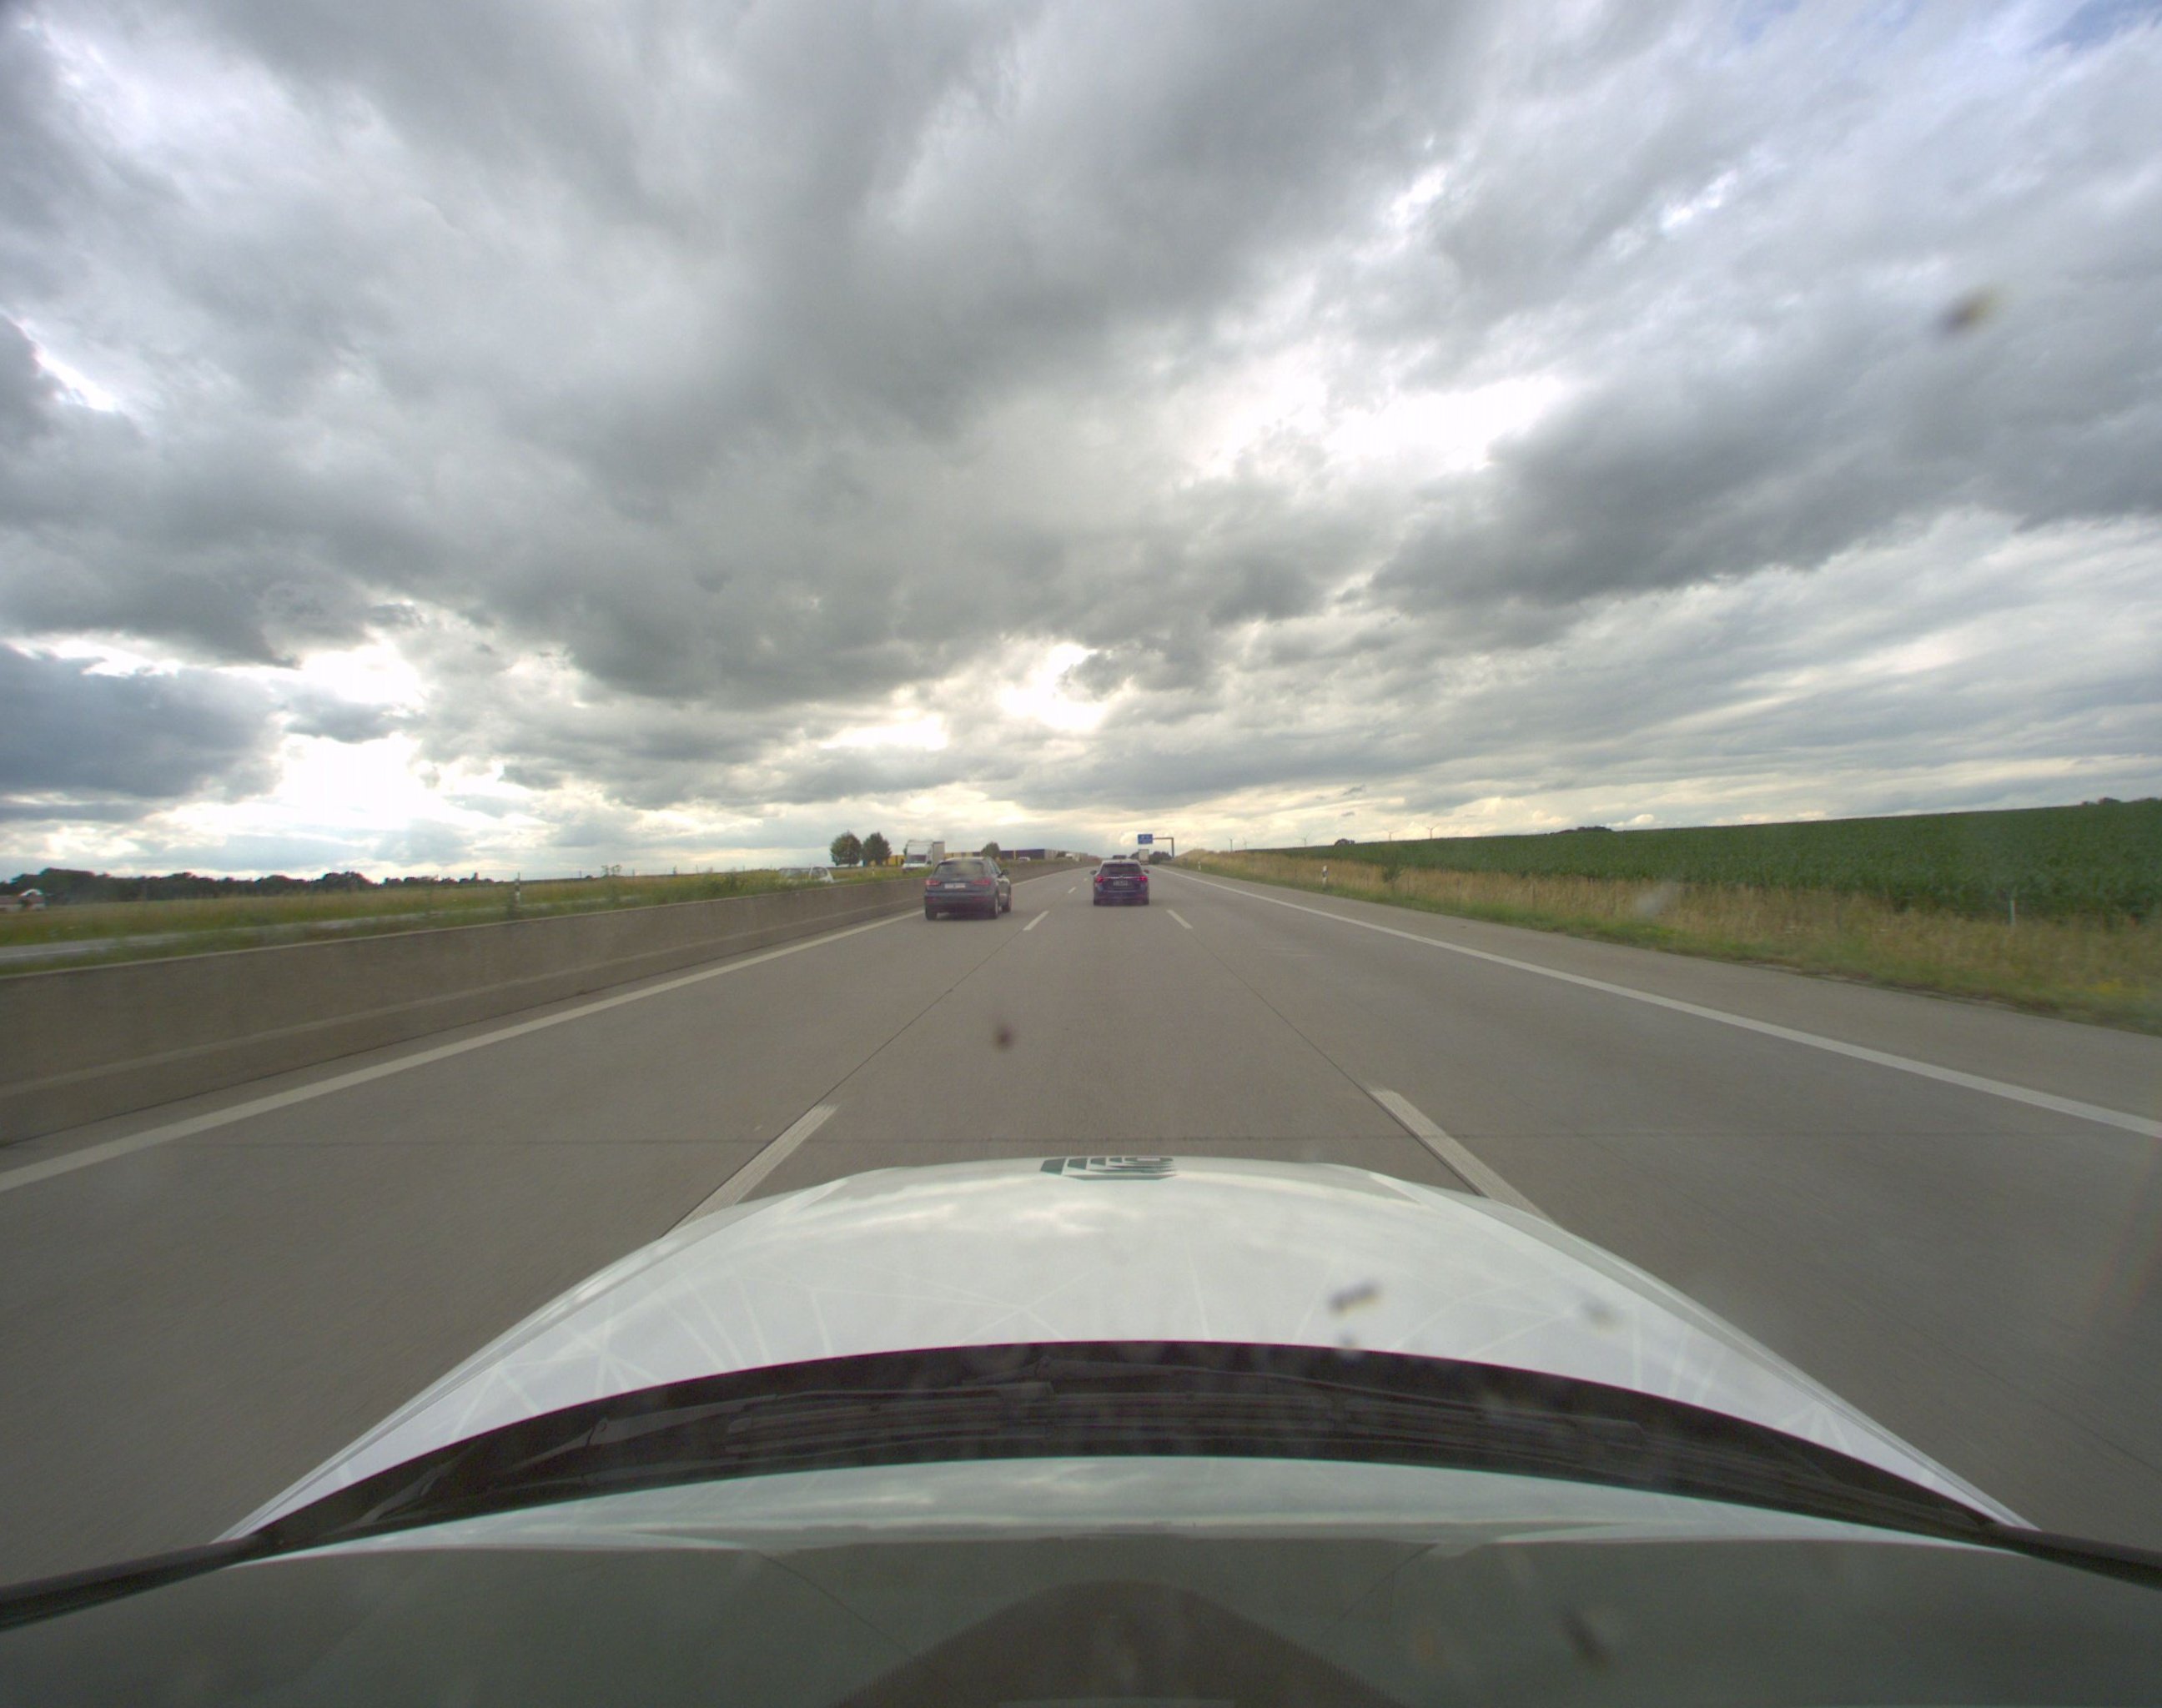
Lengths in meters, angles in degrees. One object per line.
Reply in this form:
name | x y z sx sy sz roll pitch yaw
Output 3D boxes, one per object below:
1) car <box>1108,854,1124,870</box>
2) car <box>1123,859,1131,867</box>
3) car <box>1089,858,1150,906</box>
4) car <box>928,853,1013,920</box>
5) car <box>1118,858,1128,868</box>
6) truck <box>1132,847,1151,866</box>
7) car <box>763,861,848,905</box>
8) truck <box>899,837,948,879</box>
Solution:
car | 4.622 1.084 106.865 1.987 2.014 4.000 0 -1 0
car | 12.614 2.457 222.335 1.987 2.014 3.998 0 -1 -1
car | 1.188 0.864 26.783 1.769 1.413 3.998 -1 -1 -1
car | -2.876 0.789 22.158 1.788 1.596 5.152 0 0 -2
car | 9.024 1.918 174.752 1.987 2.014 4.000 0 0 1
truck | 15.879 0.744 213.287 3.938 4.756 12.070 0 -1 -1
car | -10.851 1.106 32.383 1.917 1.636 4.002 0 -1 2
truck | -13.398 0.388 69.656 2.347 3.328 7.303 0 -1 3
